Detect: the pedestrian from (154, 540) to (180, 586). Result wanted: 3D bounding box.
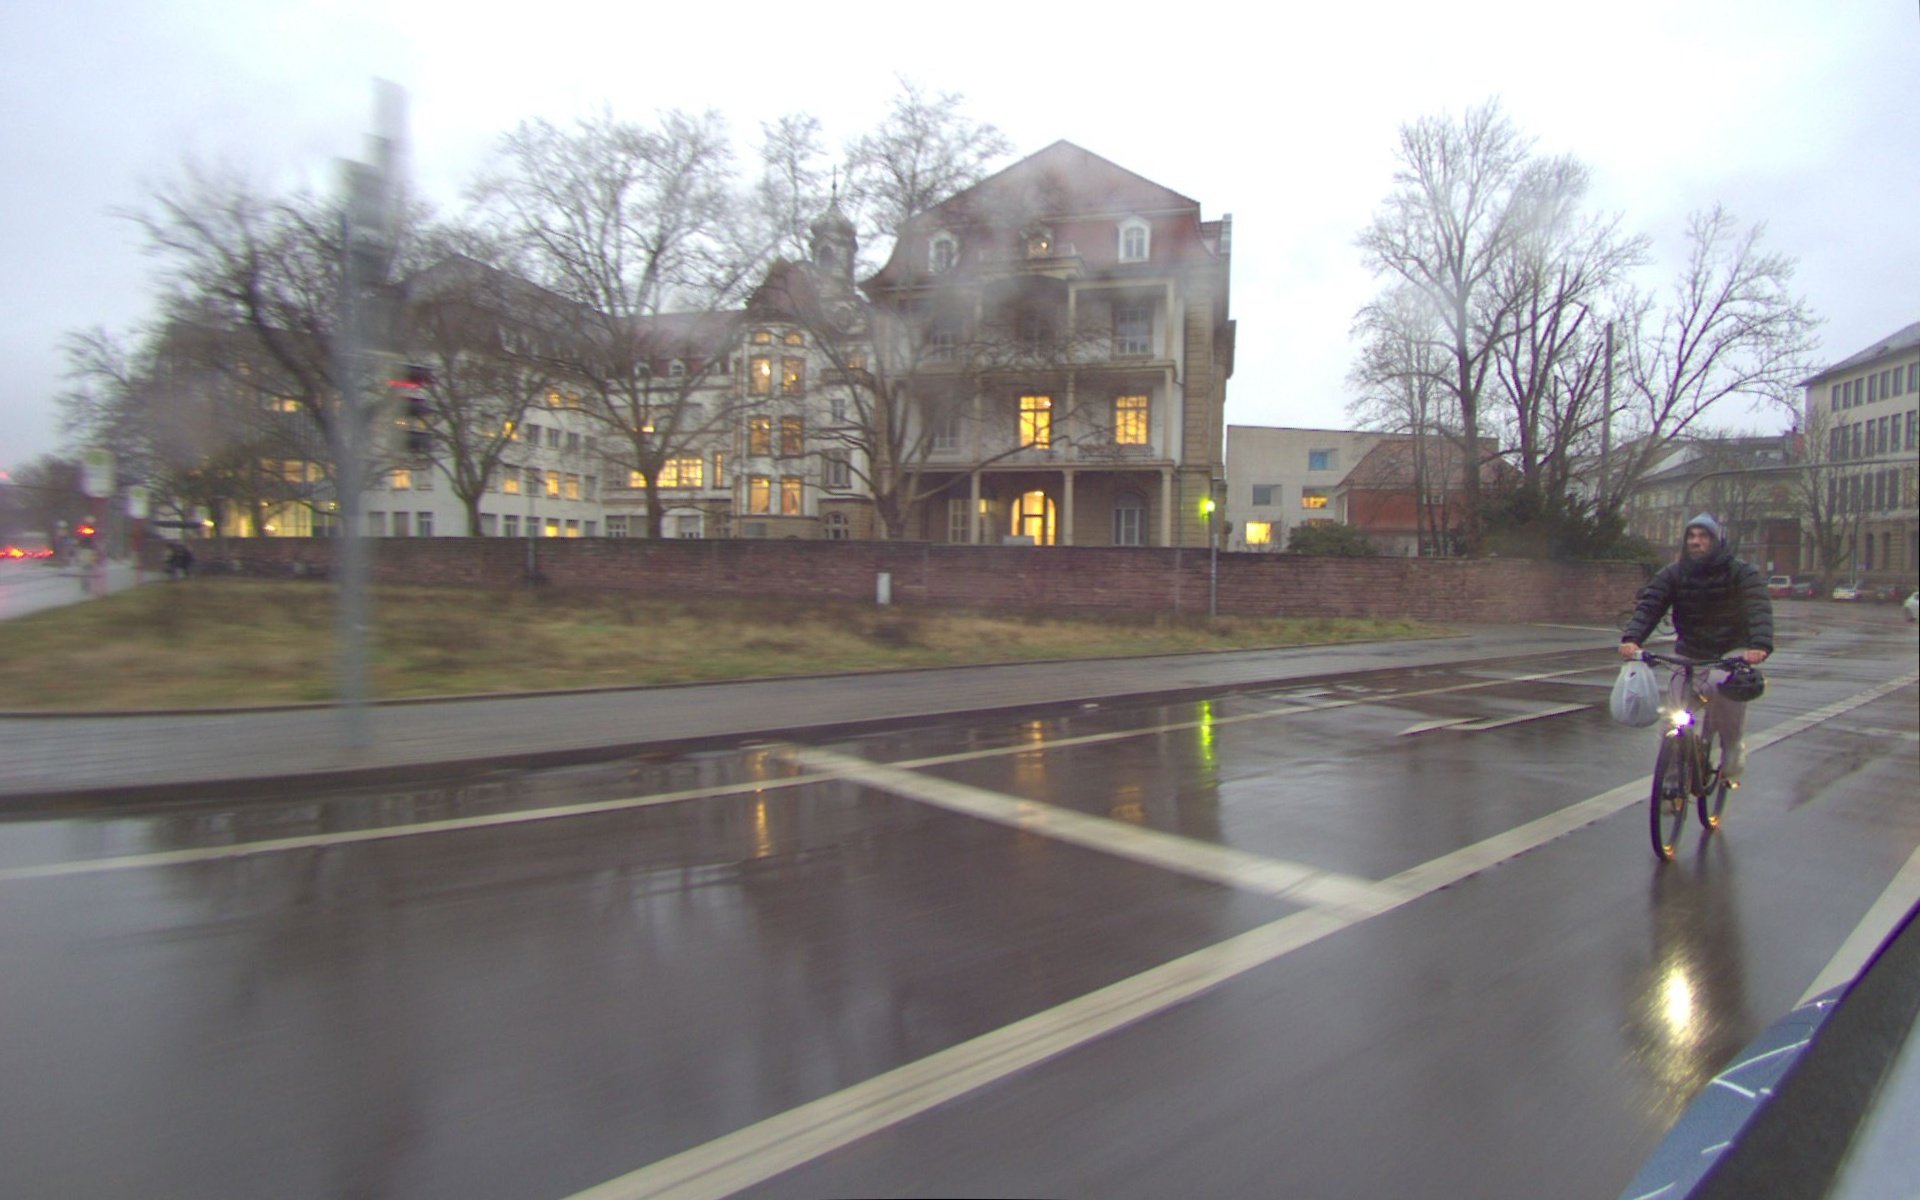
[{"bbox_3d":[-32.926,-1.546,42.010,0.794,1.853,0.947,0,3,-40],"label":"pedestrian"}]

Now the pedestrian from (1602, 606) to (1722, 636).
[{"bbox_3d":[22.781,0.682,32.931,3.061,0.942,0.942,0,0,20],"label":"pedestrian"}]

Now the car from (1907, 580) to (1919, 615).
[{"bbox_3d":[44.132,-0.097,44.571,1.763,1.564,4.099,0,0,15],"label":"car"}]

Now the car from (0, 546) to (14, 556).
[{"bbox_3d":[-148.155,-7.594,156.547,1.962,1.587,4.471,1,1,-35],"label":"car"}]

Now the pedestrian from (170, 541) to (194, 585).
[{"bbox_3d":[-33.459,-1.612,43.524,0.794,1.853,0.947,0,3,-40],"label":"pedestrian"}]

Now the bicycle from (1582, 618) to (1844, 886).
[{"bbox_3d":[4.546,0.796,6.069,1.870,1.237,0.794,-3,3,-38],"label":"bicycle"}]

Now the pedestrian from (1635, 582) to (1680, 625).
[{"bbox_3d":[22.724,0.114,32.976,0.970,1.333,0.810,2,2,20],"label":"pedestrian"}]

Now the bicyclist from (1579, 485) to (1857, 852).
[{"bbox_3d":[4.495,0.318,6.013,1.214,1.906,1.026,-2,3,-39],"label":"bicyclist"}]

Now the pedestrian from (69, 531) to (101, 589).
[{"bbox_3d":[-28.675,-1.320,33.182,0.794,1.853,0.947,0,3,-40],"label":"pedestrian"}]
